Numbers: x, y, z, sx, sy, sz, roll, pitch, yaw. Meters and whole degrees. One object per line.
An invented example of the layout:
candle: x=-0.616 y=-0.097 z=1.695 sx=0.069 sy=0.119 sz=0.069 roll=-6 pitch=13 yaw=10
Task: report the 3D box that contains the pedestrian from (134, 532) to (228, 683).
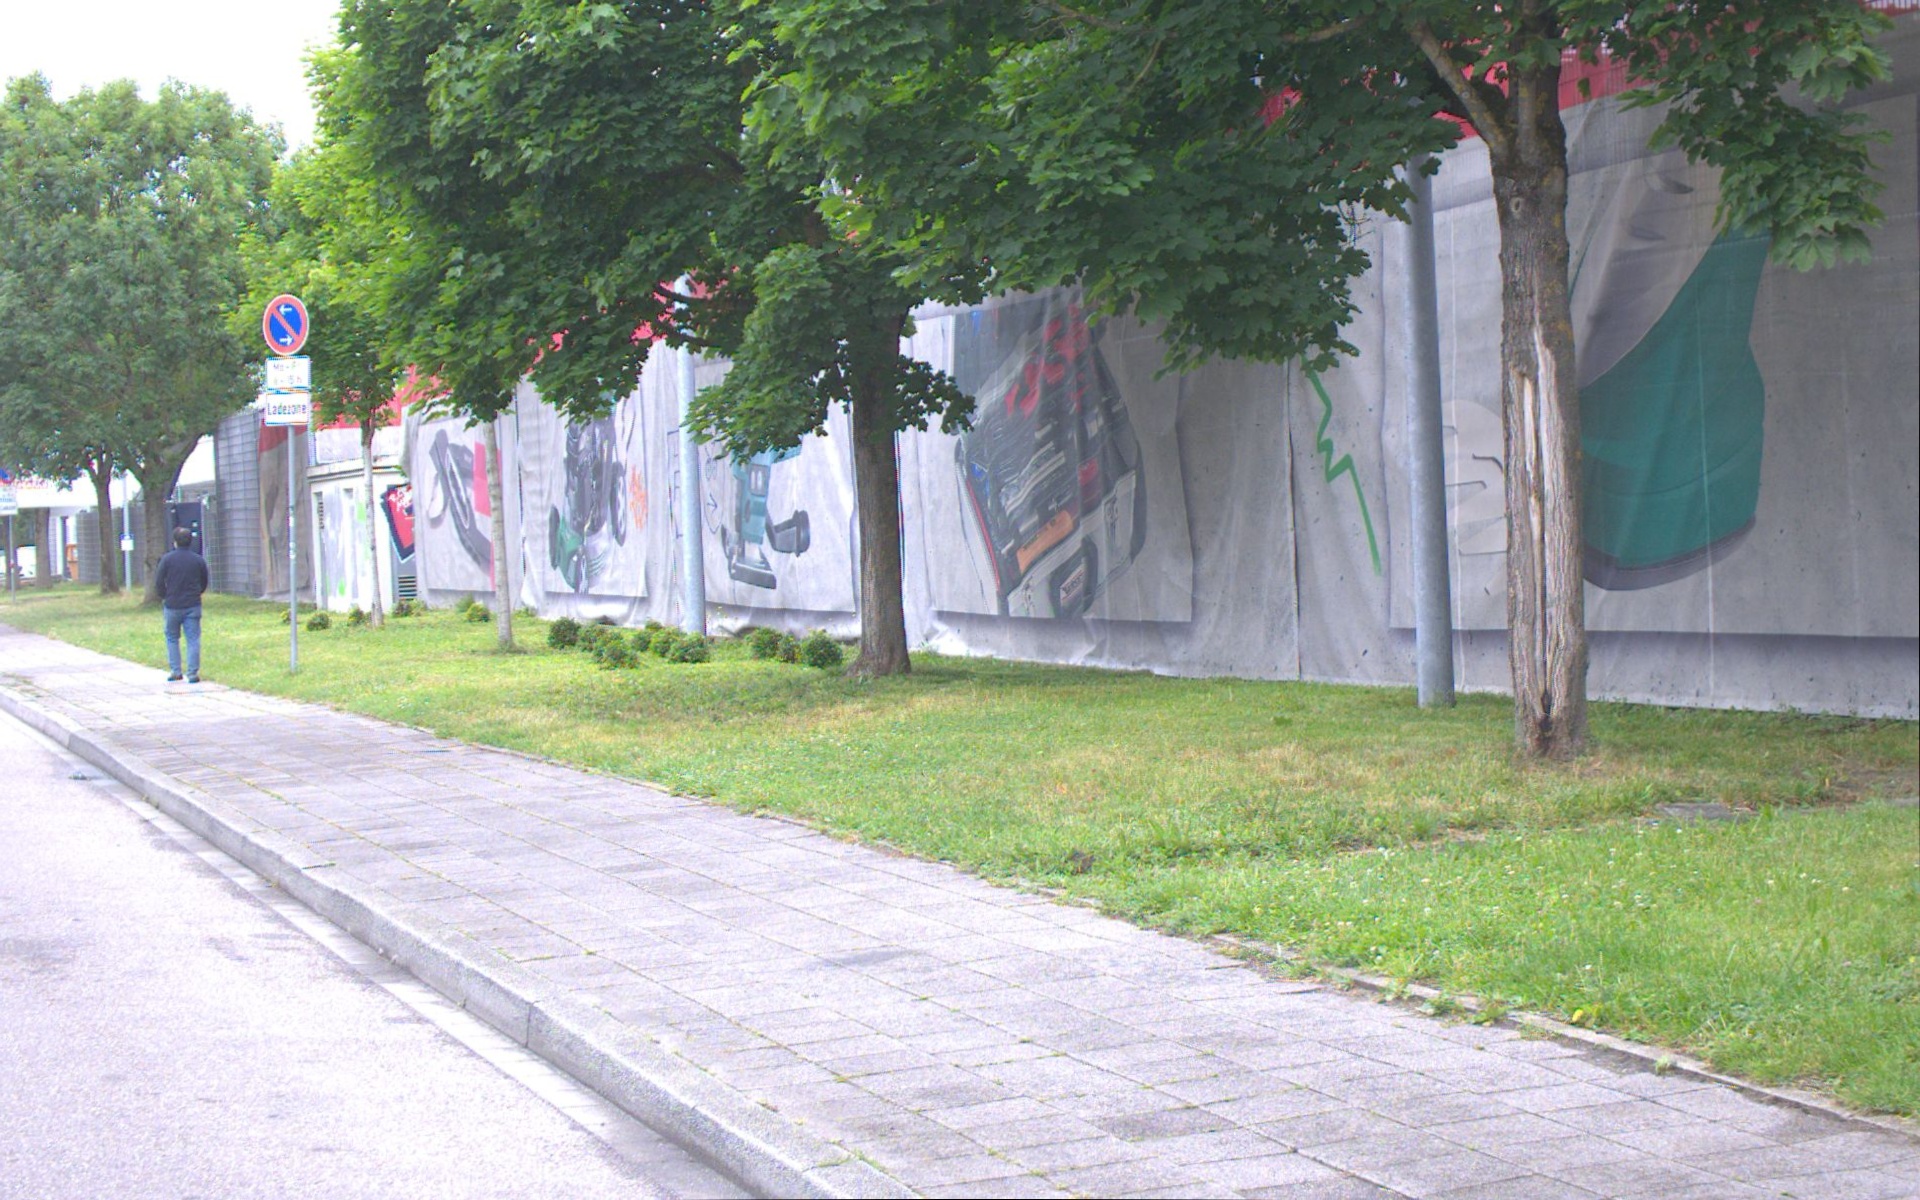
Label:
pedestrian: x=-8.556 y=0.077 z=37.736 sx=0.919 sy=1.629 sz=0.853 roll=-1 pitch=0 yaw=-17
